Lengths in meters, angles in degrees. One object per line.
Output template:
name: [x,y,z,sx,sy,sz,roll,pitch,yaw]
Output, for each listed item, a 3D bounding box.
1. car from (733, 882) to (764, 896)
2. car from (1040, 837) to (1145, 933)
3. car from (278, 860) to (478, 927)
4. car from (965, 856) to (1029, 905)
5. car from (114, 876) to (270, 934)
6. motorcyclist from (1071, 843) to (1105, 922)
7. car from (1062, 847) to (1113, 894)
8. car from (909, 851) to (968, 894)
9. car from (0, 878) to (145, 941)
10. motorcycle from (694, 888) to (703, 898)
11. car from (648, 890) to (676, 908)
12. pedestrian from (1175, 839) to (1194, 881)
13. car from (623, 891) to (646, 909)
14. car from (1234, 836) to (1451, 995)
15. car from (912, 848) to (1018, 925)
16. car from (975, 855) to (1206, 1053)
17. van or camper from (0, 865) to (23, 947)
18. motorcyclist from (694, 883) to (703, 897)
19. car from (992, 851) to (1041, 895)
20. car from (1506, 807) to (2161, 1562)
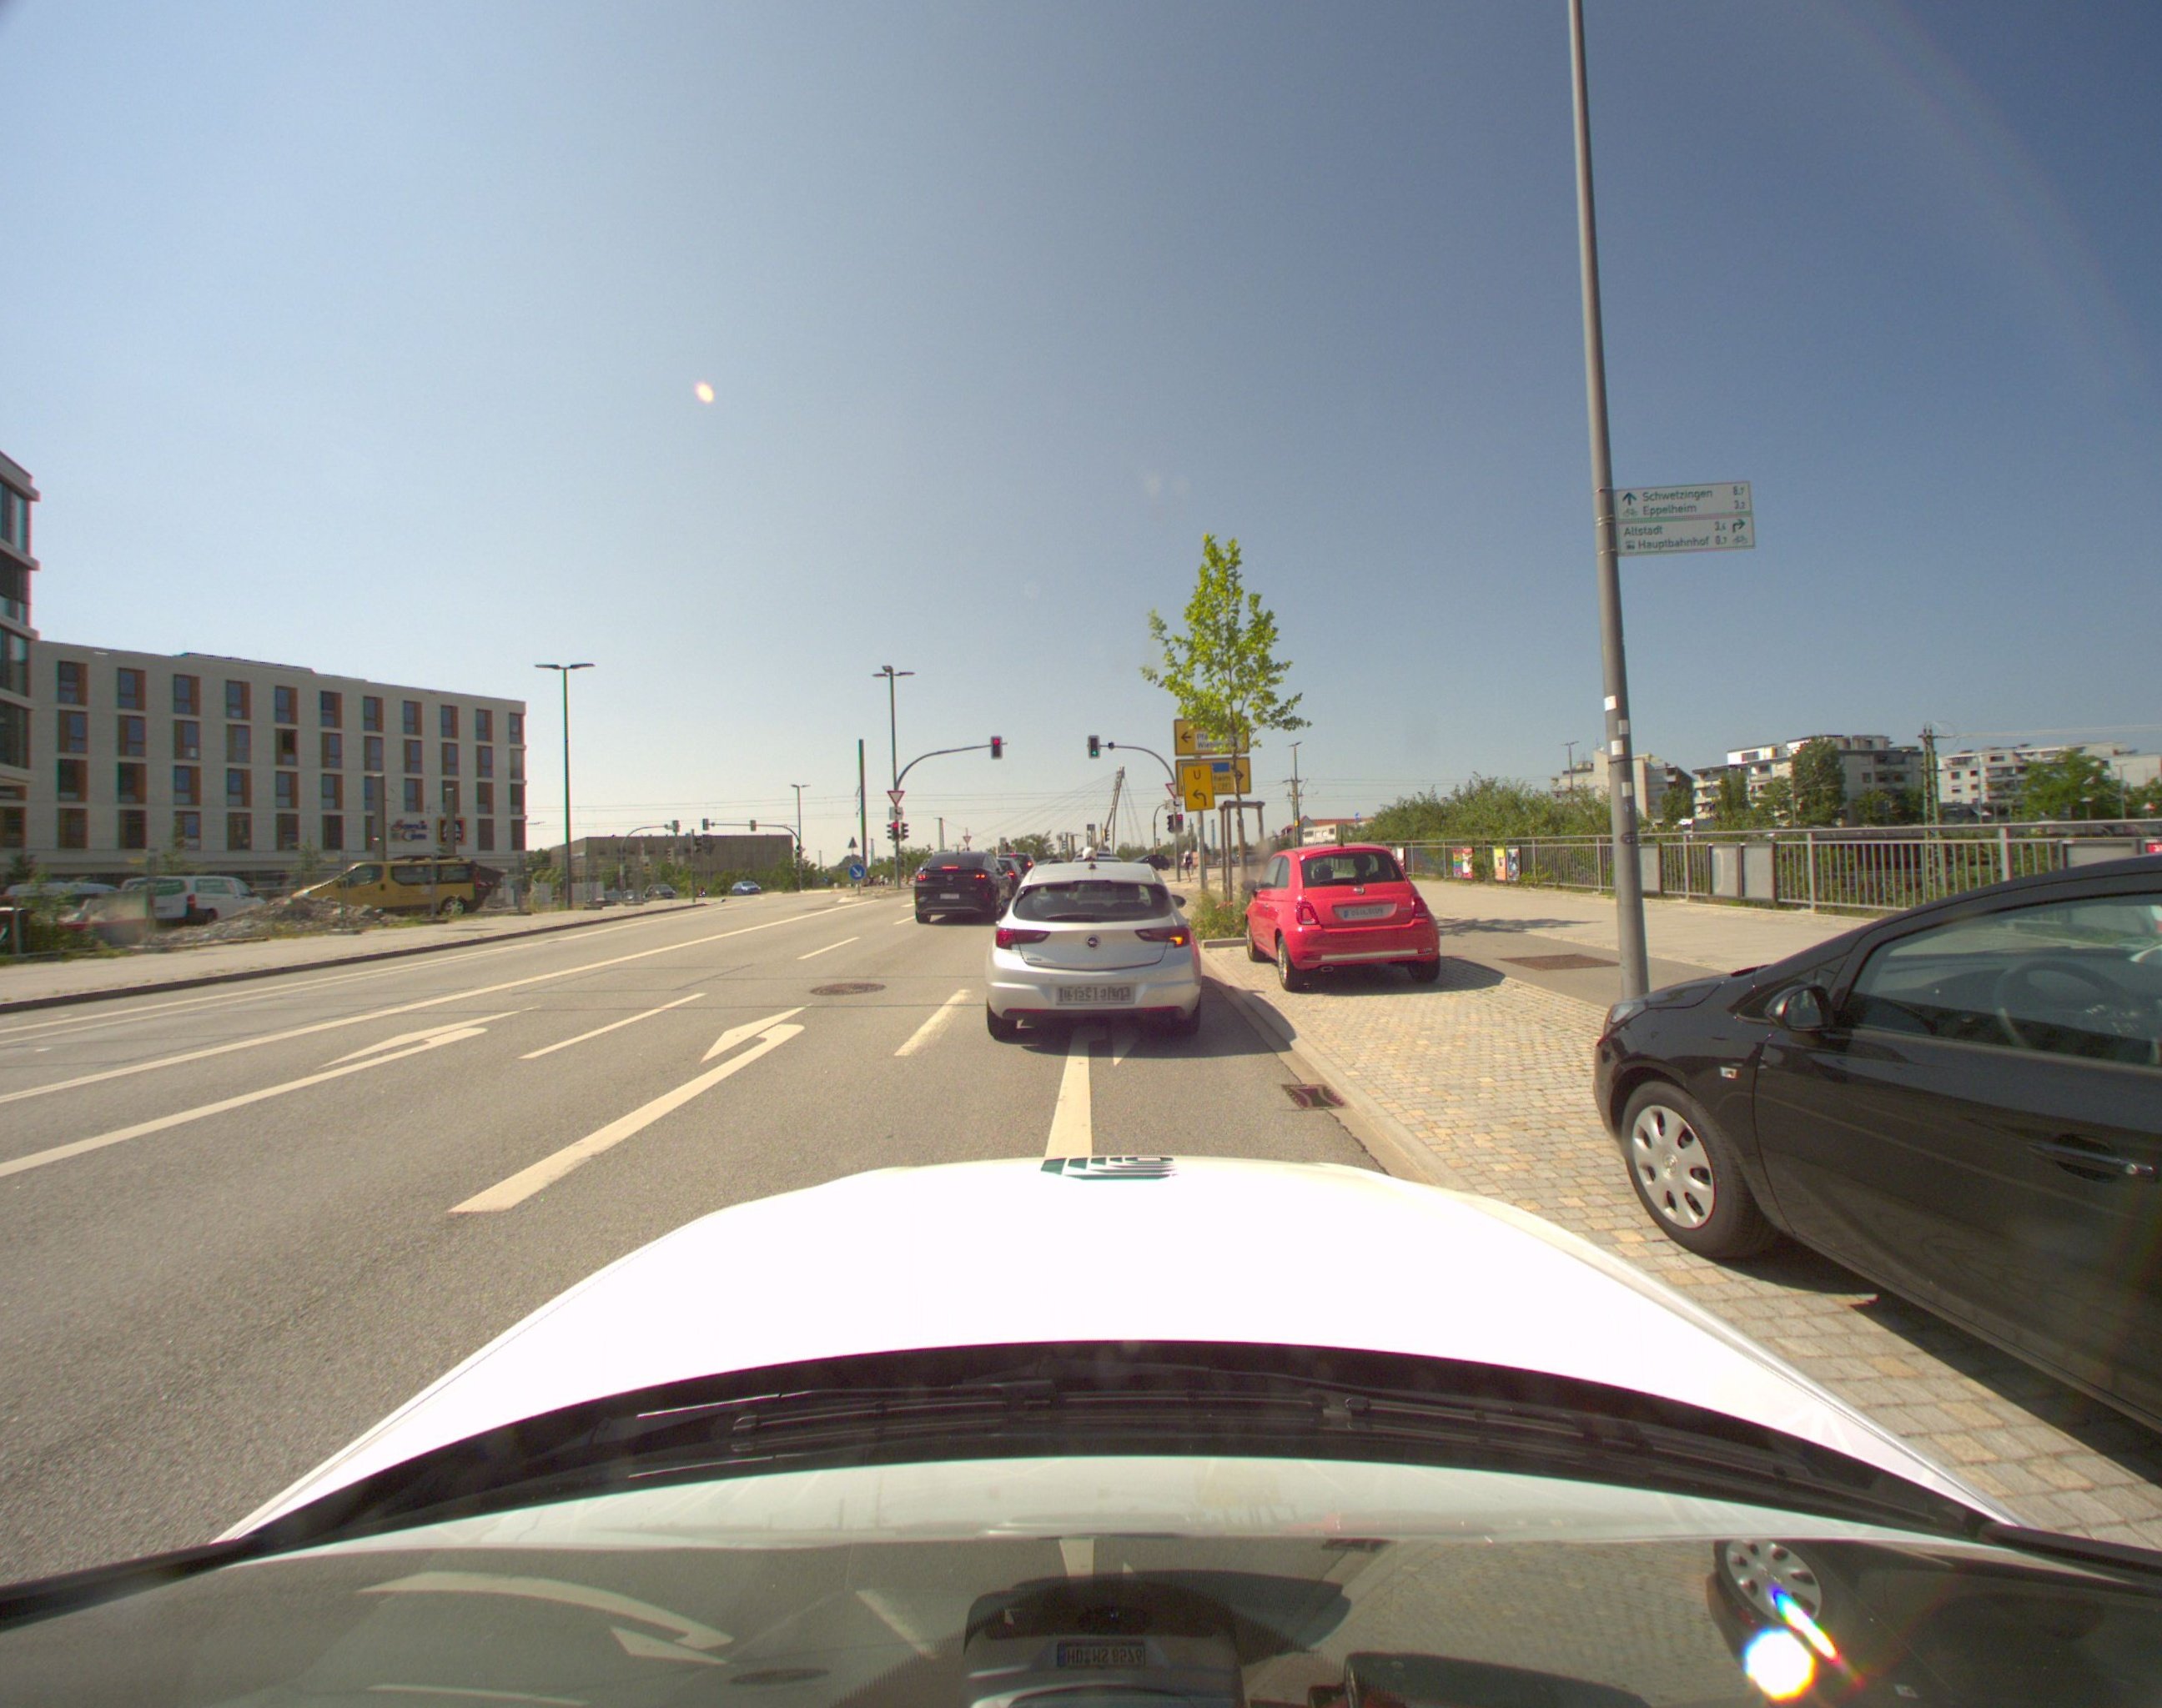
car: [-33.151,3.503,81.132,1.831,1.331,3.954,0,-2,-38]
car: [0.285,0.568,17.705,1.986,1.820,4.404,0,0,2]
car: [-22.689,1.198,26.441,1.964,1.962,4.655,-1,-1,40]
car: [-2.604,0.793,25.871,1.569,1.434,3.786,0,-1,1]
car: [-31.068,1.697,28.680,1.873,1.774,4.619,0,-1,-22]
motorcyclist: [0.131,0.508,14.654,0.579,1.389,0.707,0,-1,3]
car: [0.292,0.528,29.301,1.717,1.563,4.002,0,1,2]
car: [-5.410,0.696,31.272,1.592,1.547,3.761,0,-1,0]
car: [-33.672,1.793,27.242,1.795,1.857,3.816,0,-1,-28]
motorcycle: [-41.907,4.282,89.263,0.523,0.955,1.913,0,-1,-35]
car: [-38.533,4.088,74.836,1.686,1.476,3.368,-2,0,-37]
pedestrian: [4.734,0.271,37.339,0.645,1.836,0.798,-3,-1,0]
car: [-44.361,4.514,80.885,1.578,1.587,3.441,0,-1,-35]
car: [2.920,0.610,9.797,1.603,1.496,3.355,-4,0,3]
car: [-2.664,0.718,19.650,1.795,1.641,4.367,0,-1,2]
car: [0.054,0.765,8.135,1.738,1.478,3.998,0,-1,-1]
van or camper: [-36.476,1.725,25.352,2.318,2.735,4.944,0,-1,-26]
motorcyclist: [-41.967,3.919,89.308,0.756,1.494,0.670,0,-1,-36]
car: [-2.493,0.733,32.050,1.644,1.615,3.819,0,-1,0]
car: [2.874,0.601,1.939,1.654,1.426,4.001,-4,-1,2]
